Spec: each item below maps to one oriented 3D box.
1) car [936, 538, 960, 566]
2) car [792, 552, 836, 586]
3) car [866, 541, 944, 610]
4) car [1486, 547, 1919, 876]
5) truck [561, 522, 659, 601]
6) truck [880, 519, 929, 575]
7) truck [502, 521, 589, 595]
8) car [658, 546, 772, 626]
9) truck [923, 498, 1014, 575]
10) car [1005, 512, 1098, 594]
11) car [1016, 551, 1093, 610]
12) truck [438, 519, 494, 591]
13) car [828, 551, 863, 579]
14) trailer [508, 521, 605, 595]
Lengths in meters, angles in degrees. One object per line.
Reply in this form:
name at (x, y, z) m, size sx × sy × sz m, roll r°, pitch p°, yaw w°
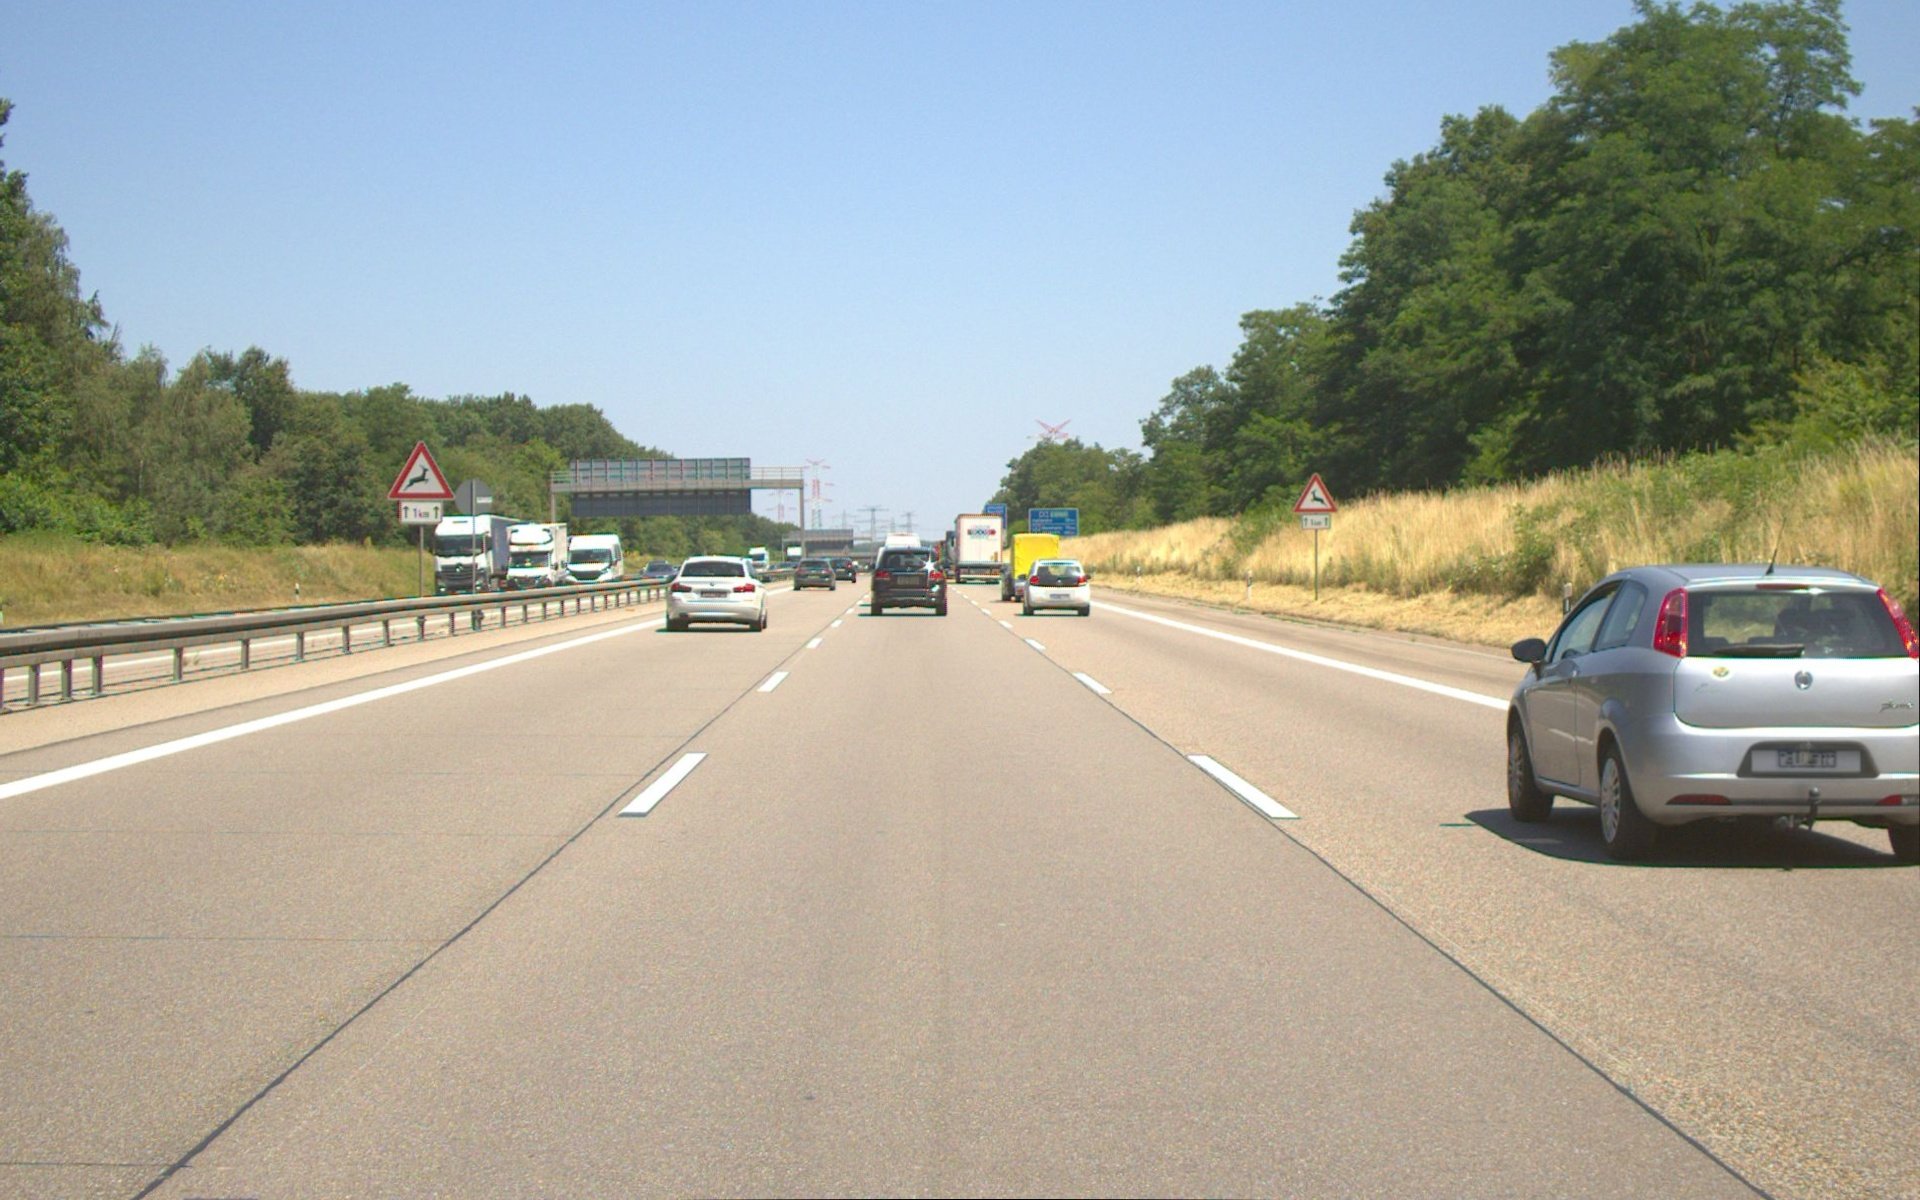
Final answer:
car at (-0.898, -3.520, 253.233) m, size 1.556 × 2.007 × 3.901 m, roll 2°, pitch 1°, yaw -2°
car at (-6.483, -1.399, 153.057) m, size 1.832 × 1.427 × 5.000 m, roll 1°, pitch 1°, yaw -1°
car at (-1.418, -0.643, 87.575) m, size 1.831 × 1.666 × 4.001 m, roll 1°, pitch 1°, yaw -3°
car at (3.969, 0.503, 18.118) m, size 1.719 × 1.486 × 3.737 m, roll 1°, pitch 2°, yaw -1°
truck at (-15.434, -1.722, 152.365) m, size 3.434 × 3.333 × 10.572 m, roll -1°, pitch 1°, yaw -1°
truck at (-2.984, -2.798, 183.345) m, size 2.428 × 2.874 × 6.206 m, roll 1°, pitch 0°, yaw -2°
truck at (-19.172, -1.955, 159.221) m, size 3.434 × 3.333 × 5.237 m, roll -1°, pitch 1°, yaw -1°
car at (-4.831, -0.308, 68.340) m, size 1.963 × 1.498 × 5.405 m, roll 1°, pitch 1°, yaw -1°
truck at (0.431, -3.779, 204.660) m, size 3.991 × 4.300 × 9.884 m, roll 2°, pitch 1°, yaw -8°
car at (3.042, -1.563, 115.463) m, size 2.666 × 2.625 × 6.114 m, roll 1°, pitch 0°, yaw -2°
car at (2.419, -0.506, 88.672) m, size 1.821 × 1.486 × 3.737 m, roll 1°, pitch 0°, yaw -1°
truck at (-23.534, -2.164, 163.977) m, size 2.119 × 3.333 × 4.000 m, roll -1°, pitch 1°, yaw -1°
car at (-6.744, -2.055, 202.901) m, size 1.876 × 1.575 × 3.928 m, roll 0°, pitch 2°, yaw 1°
trailer at (-19.262, -2.042, 164.865) m, size 3.434 × 3.333 × 12.023 m, roll -1°, pitch 1°, yaw -1°
